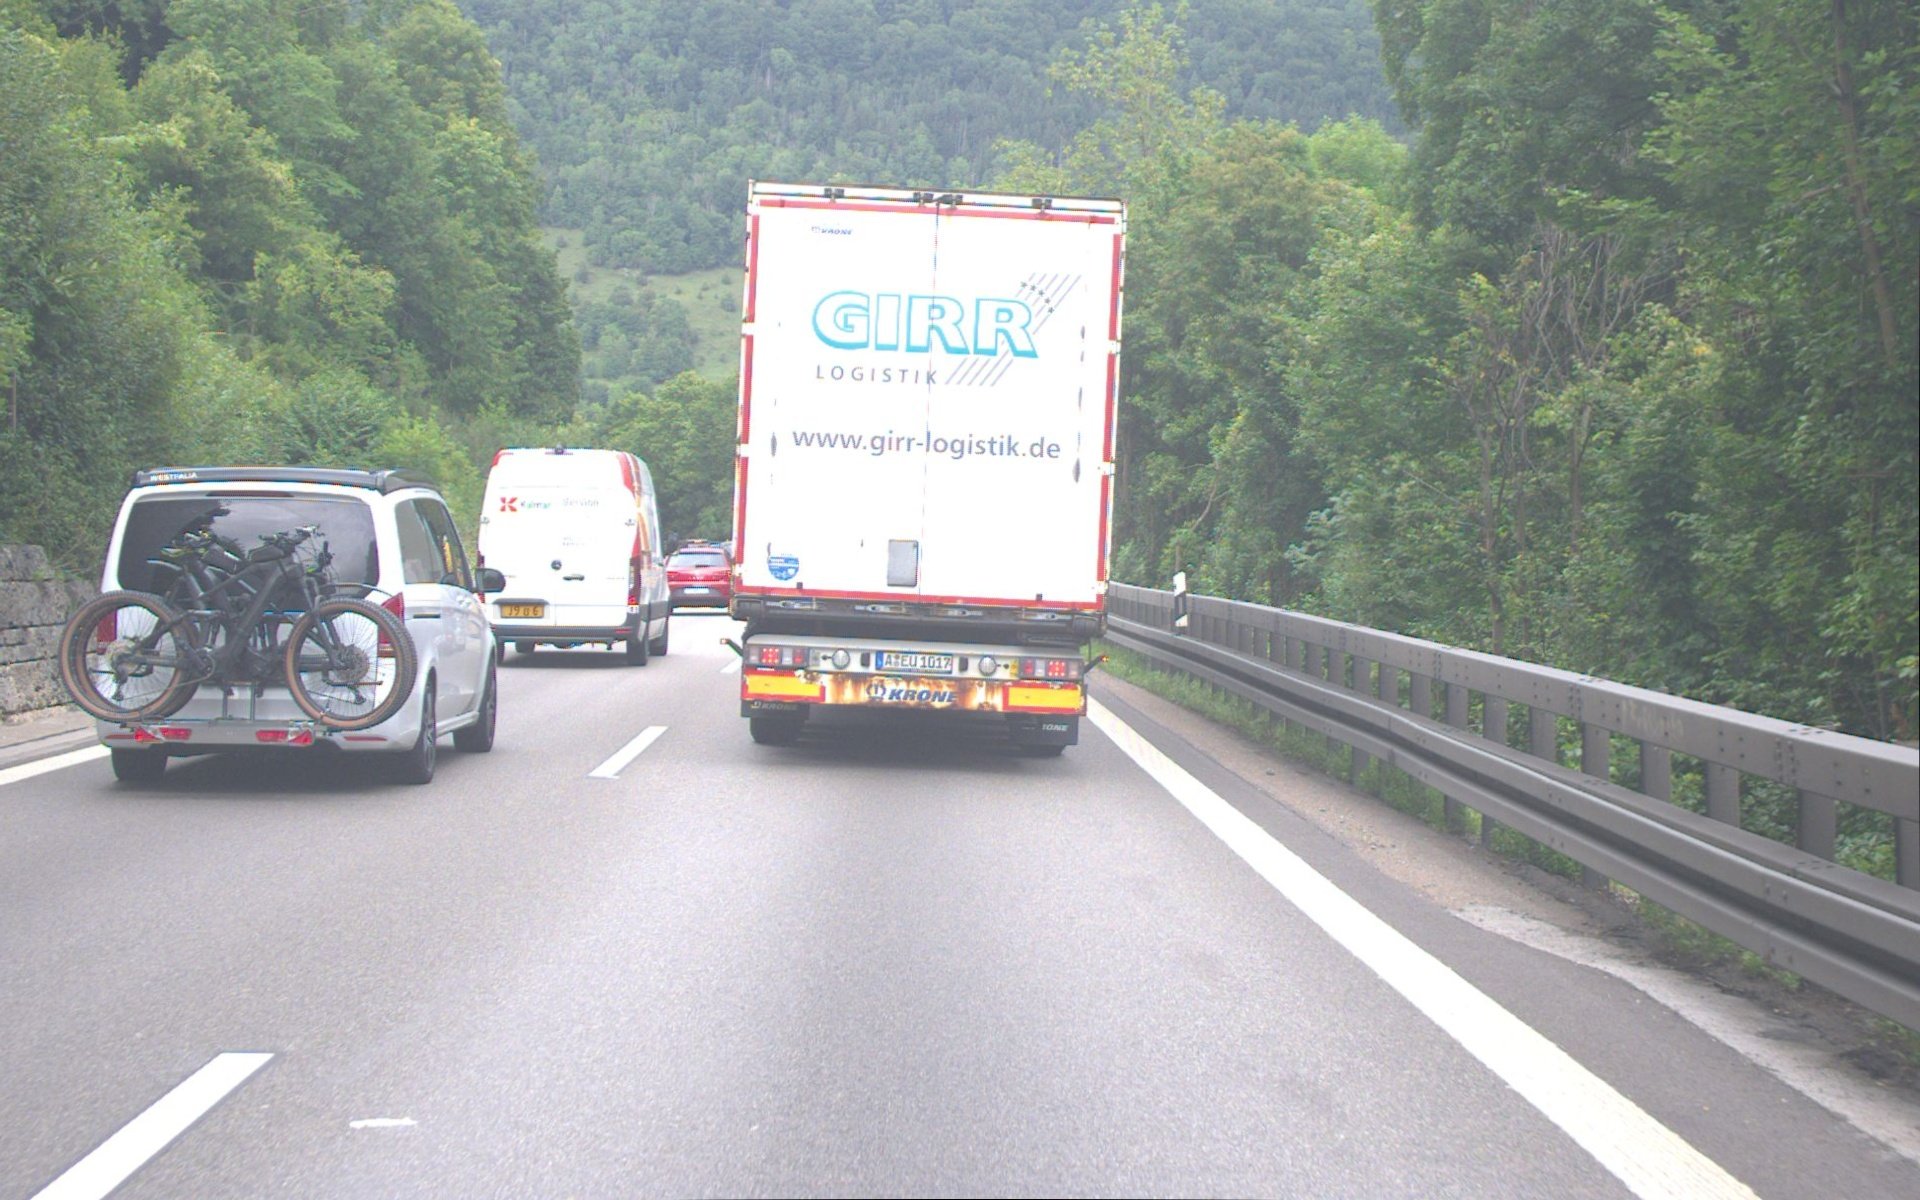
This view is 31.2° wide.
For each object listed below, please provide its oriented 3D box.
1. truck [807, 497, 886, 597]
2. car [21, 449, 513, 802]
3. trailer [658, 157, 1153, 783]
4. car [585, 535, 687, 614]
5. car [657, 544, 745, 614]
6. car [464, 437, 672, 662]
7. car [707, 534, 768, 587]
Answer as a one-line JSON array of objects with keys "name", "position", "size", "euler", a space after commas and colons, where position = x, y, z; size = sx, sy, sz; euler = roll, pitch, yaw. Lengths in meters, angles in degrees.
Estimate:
[{"name": "truck", "position": [-4.551, -2.123, 138.858], "size": [3.068, 3.864, 8.459], "euler": [1, 1, -1]}, {"name": "car", "position": [-4.173, 0.086, 21.688], "size": [2.018, 1.908, 5.564], "euler": [1, 1, -1]}, {"name": "trailer", "position": [-0.414, -0.945, 27.465], "size": [3.133, 4.029, 9.440], "euler": [2, 1, -1]}, {"name": "car", "position": [-6.388, -0.509, 68.121], "size": [1.683, 1.509, 3.765], "euler": [1, 1, -1]}, {"name": "car", "position": [-5.528, -0.464, 73.705], "size": [1.683, 1.447, 3.765], "euler": [0, 1, -1]}, {"name": "car", "position": [-4.747, -0.636, 42.353], "size": [2.123, 2.589, 5.564], "euler": [0, 1, -2]}, {"name": "car", "position": [-7.318, -1.302, 113.438], "size": [1.836, 1.683, 4.419], "euler": [-1, 1, -2]}]
